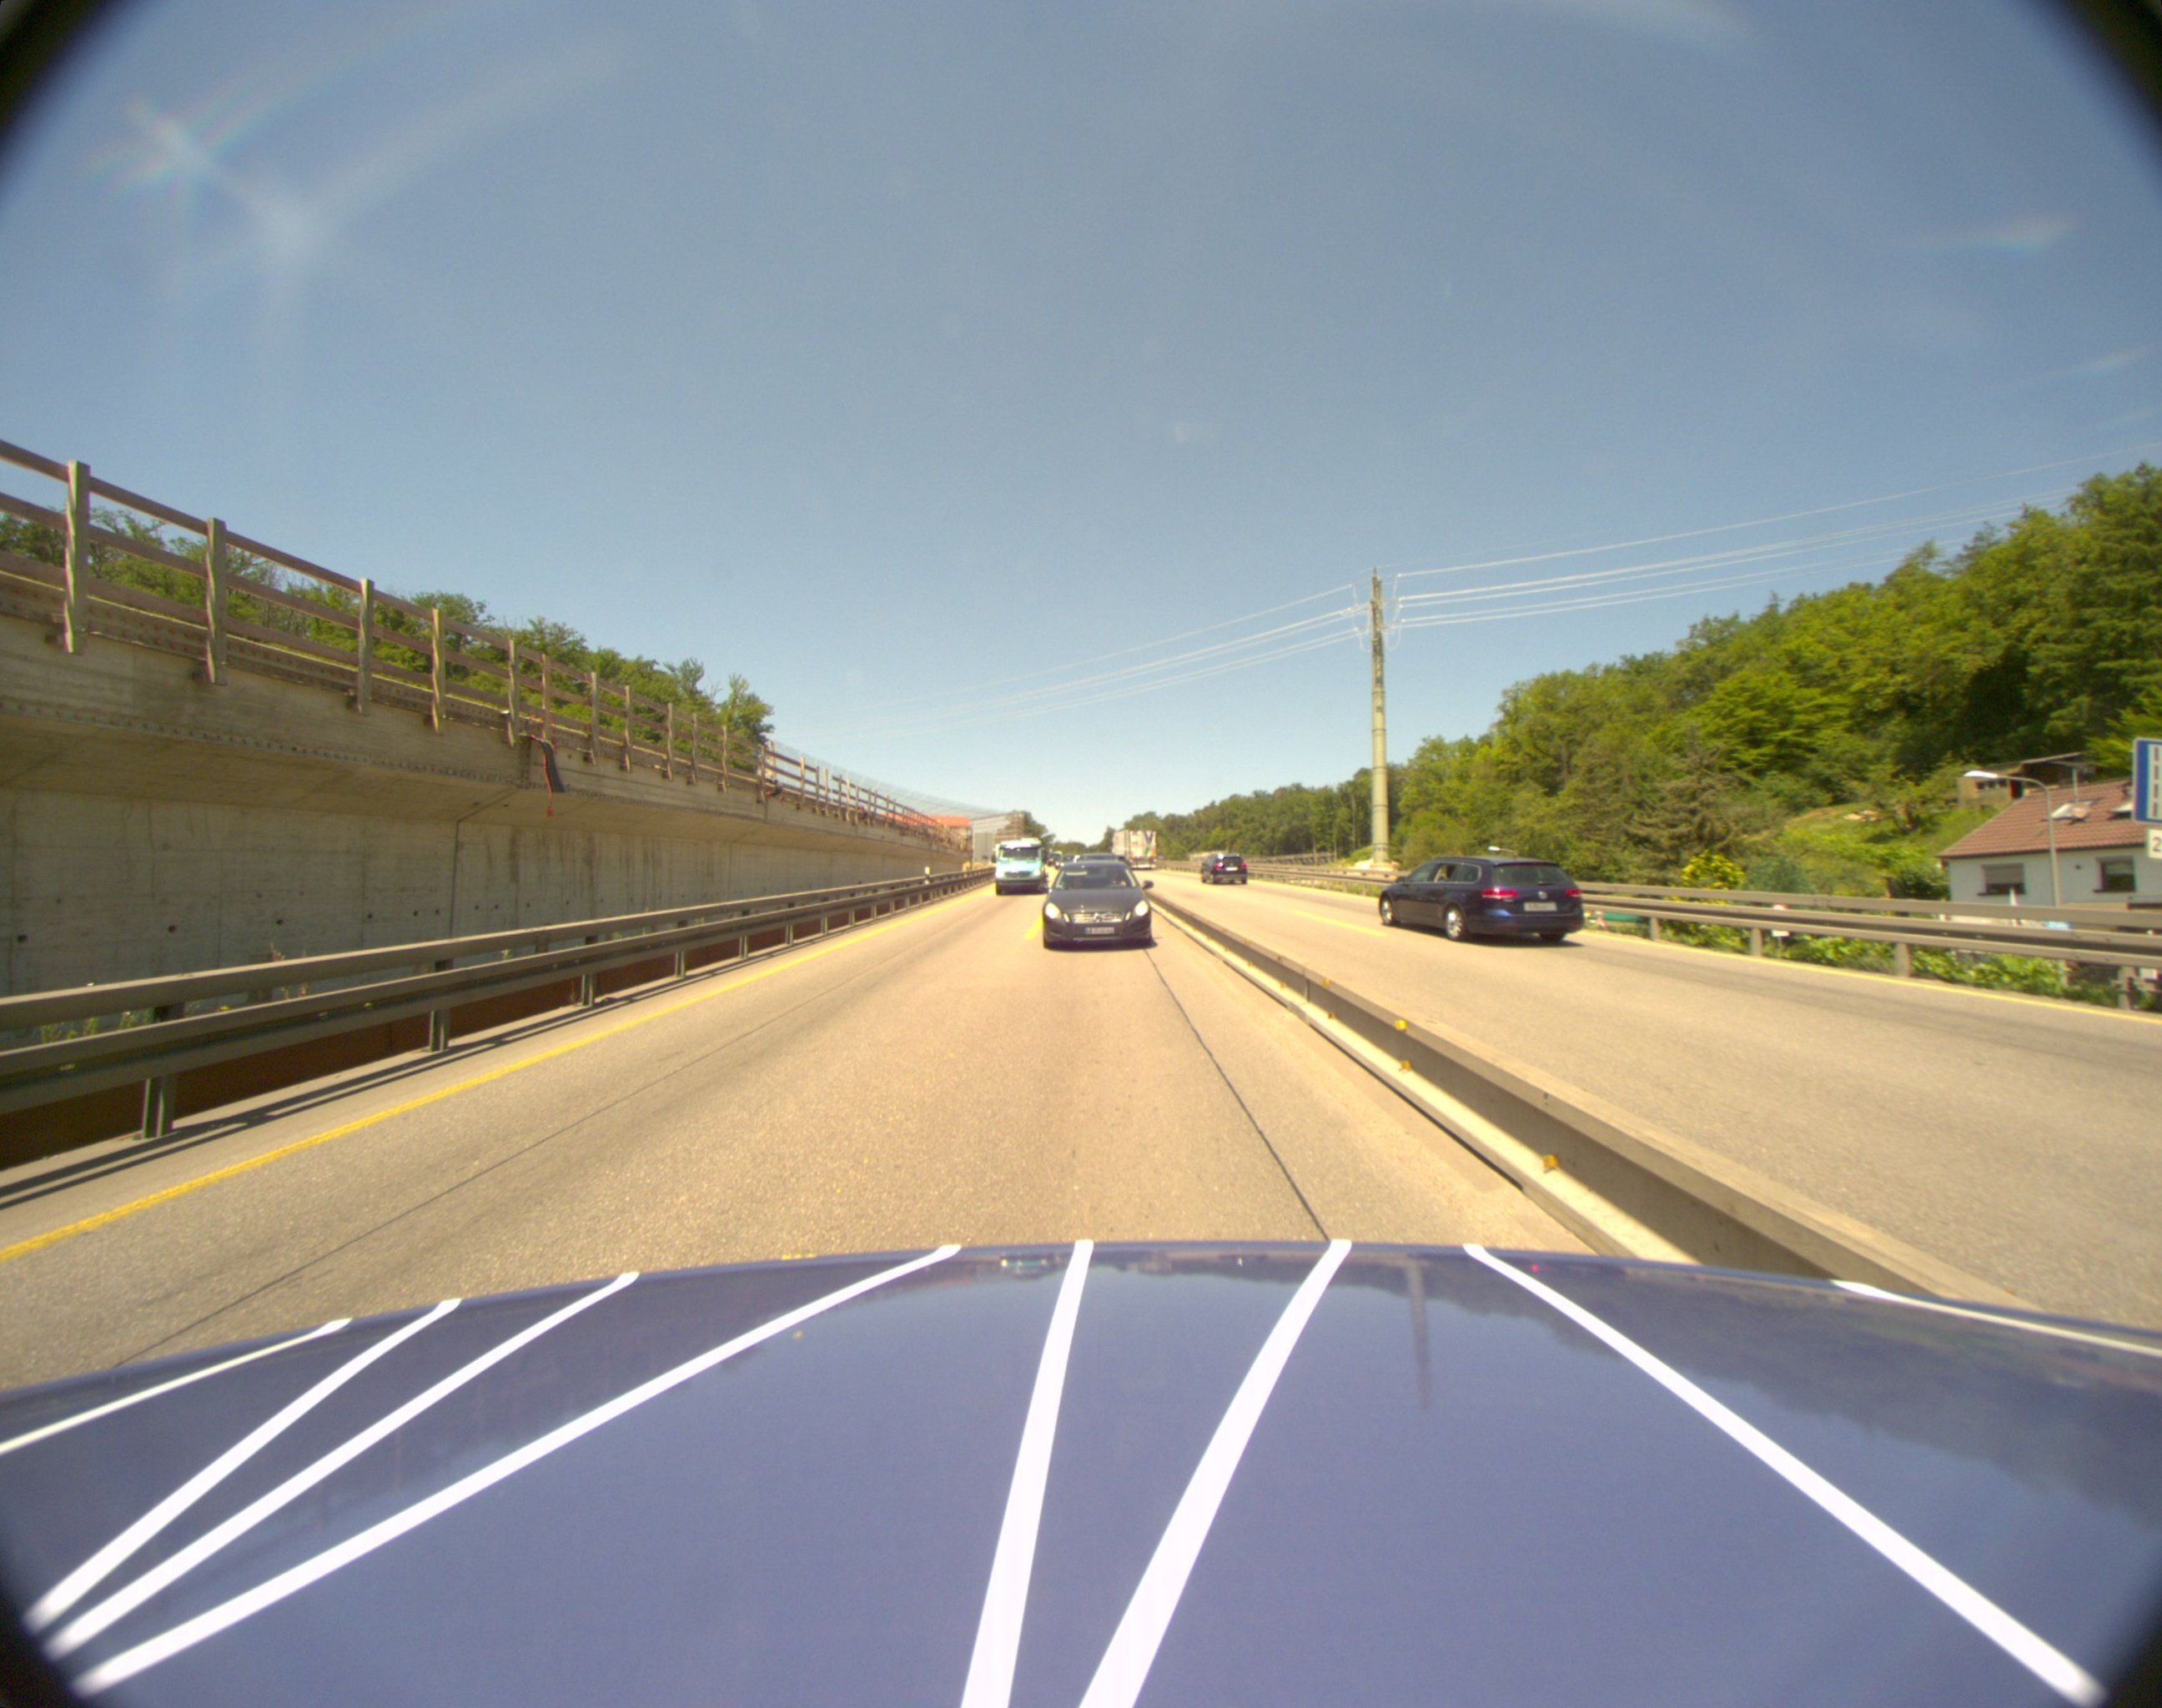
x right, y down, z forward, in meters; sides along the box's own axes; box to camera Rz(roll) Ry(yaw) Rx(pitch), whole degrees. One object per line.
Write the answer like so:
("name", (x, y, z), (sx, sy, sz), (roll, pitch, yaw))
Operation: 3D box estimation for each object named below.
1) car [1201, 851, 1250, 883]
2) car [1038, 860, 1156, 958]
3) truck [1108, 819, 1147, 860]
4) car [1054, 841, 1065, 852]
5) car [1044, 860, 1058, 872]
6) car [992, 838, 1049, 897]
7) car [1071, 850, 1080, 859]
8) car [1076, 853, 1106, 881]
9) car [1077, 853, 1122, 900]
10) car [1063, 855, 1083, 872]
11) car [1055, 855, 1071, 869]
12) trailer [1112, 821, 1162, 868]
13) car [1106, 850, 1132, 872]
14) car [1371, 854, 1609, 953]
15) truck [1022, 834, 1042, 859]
("car", (7.130, 0.659, 37.821), (1.736, 1.480, 4.001), (-1, -1, 1))
("car", (0.145, 0.882, 14.248), (1.844, 1.475, 4.561), (-1, 0, -3))
("truck", (5.190, -1.579, 86.106), (3.312, 4.337, 8.297), (-2, 1, -4))
("car", (-4.090, -1.476, 144.145), (1.999, 1.999, 4.856), (-1, 1, -1))
("car", (-3.995, 1.586, 101.351), (1.586, 1.366, 3.344), (-2, 1, 1))
("car", (-2.589, 0.492, 33.950), (2.217, 2.312, 6.899), (-1, 1, -3))
("car", (-1.309, 0.073, 173.494), (1.999, 1.999, 4.856), (-1, 1, -1))
("car", (0.569, 0.788, 47.008), (1.736, 1.557, 3.619), (-2, 1, 0))
("car", (0.648, 0.756, 27.807), (1.519, 1.543, 3.860), (-1, 1, 0))
("car", (-0.693, 0.786, 67.521), (1.647, 1.366, 3.344), (-2, 1, 1))
("car", (-2.023, 0.886, 84.287), (1.647, 1.366, 3.343), (-2, 1, -3))
("trailer", (5.625, -0.968, 79.365), (3.261, 4.353, 14.052), (-2, 1, -3))
("car", (2.974, 0.514, 60.858), (1.824, 1.577, 4.159), (-4, 1, 1))
("car", (7.019, 0.748, 13.739), (1.846, 1.410, 4.686), (0, 1, 1))
("truck", (-7.234, -1.130, 112.149), (2.472, 3.464, 9.862), (-2, 1, -6))
